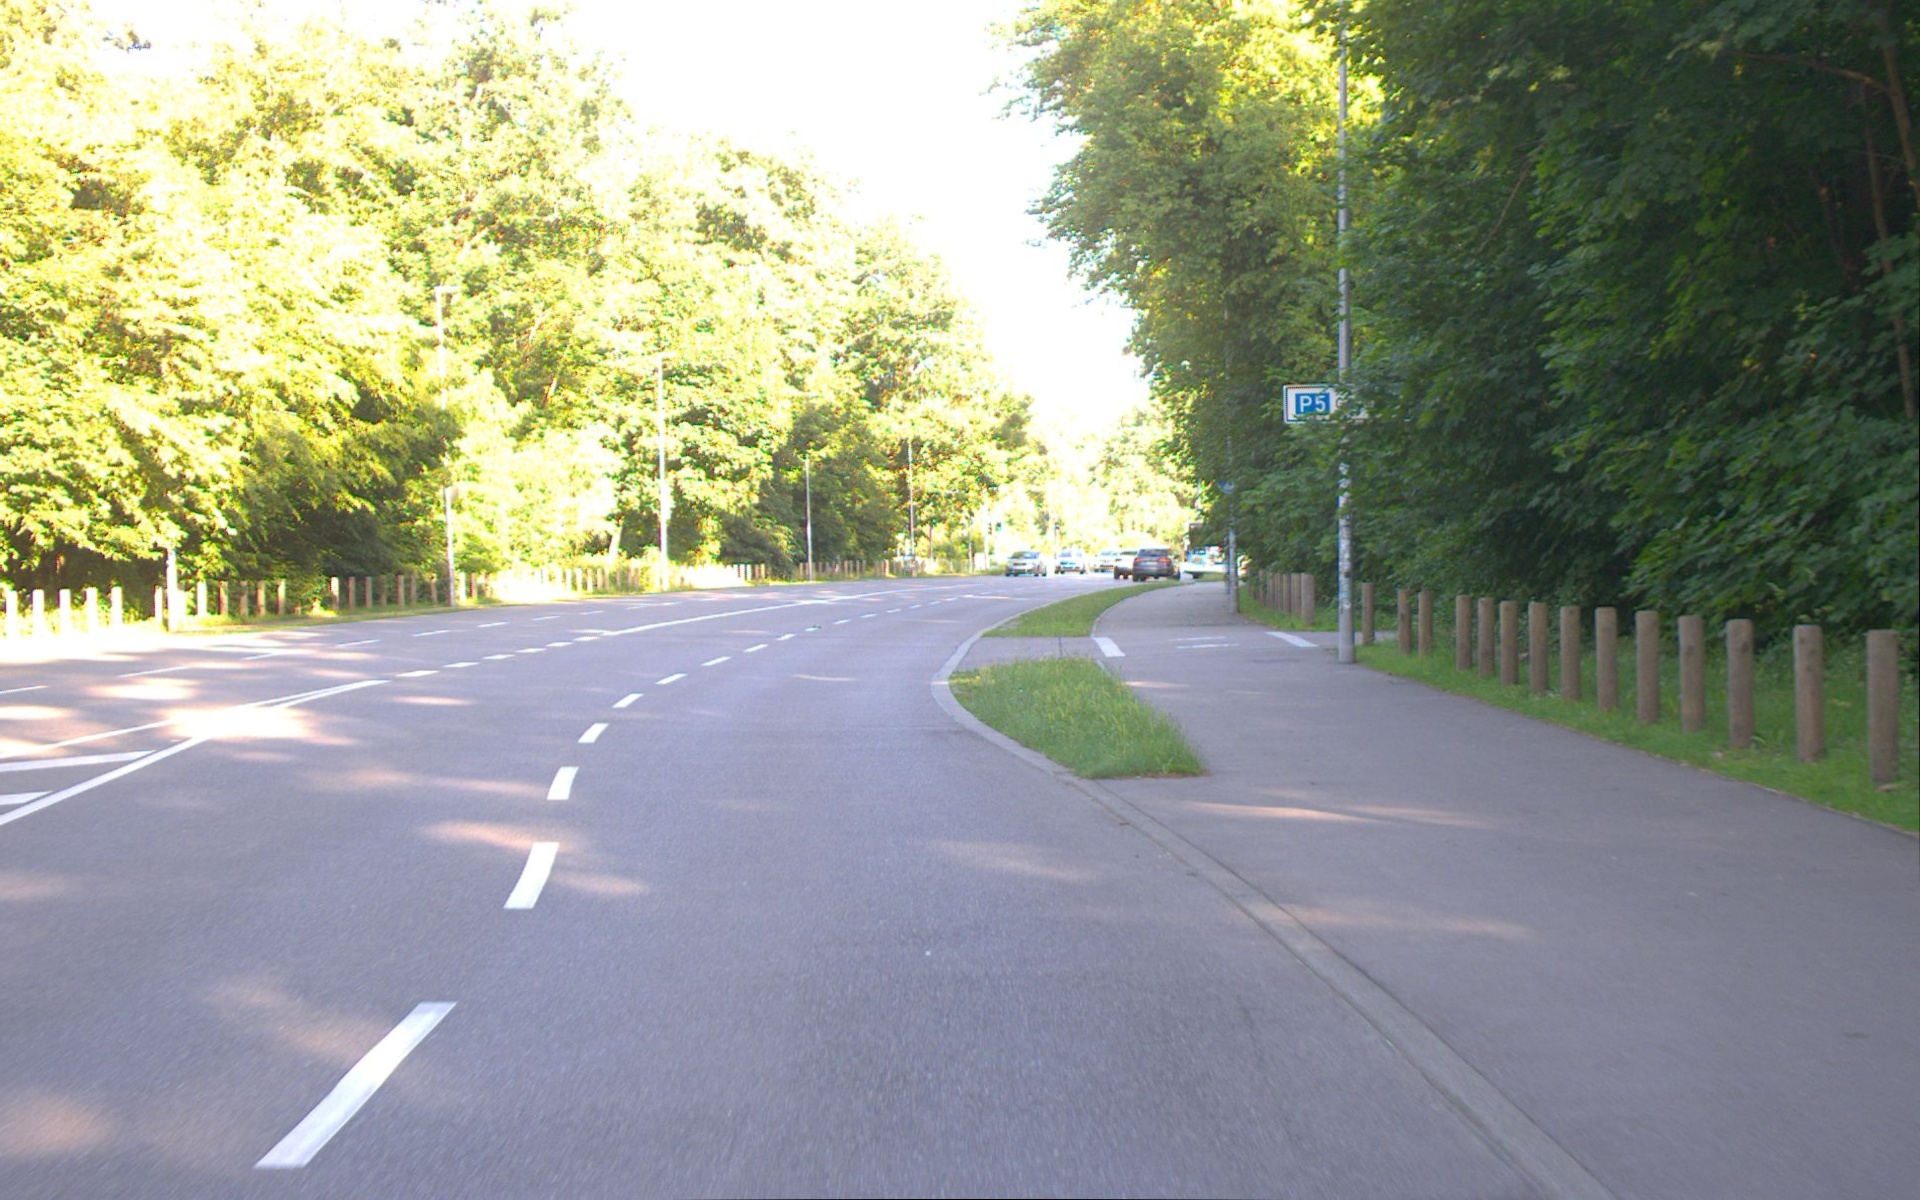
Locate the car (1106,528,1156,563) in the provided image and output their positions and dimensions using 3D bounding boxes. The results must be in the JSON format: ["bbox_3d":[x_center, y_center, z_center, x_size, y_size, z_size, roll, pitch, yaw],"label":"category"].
[{"bbox_3d":[8.559,-2.726,171.733,1.881,1.703,3.998,-1,1,12],"label":"car"}]

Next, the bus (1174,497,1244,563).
[{"bbox_3d":[12.963,-3.645,178.438,2.606,3.357,7.972,0,2,12],"label":"bus"}]

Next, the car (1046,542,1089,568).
[{"bbox_3d":[6.312,-2.625,201.907,1.780,1.459,4.272,-1,1,12],"label":"car"}]

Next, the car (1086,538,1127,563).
[{"bbox_3d":[9.357,-3.168,219.694,1.784,1.517,4.395,0,1,14],"label":"car"}]

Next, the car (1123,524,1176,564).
[{"bbox_3d":[8.817,-2.612,159.644,1.881,1.759,3.998,-1,1,12],"label":"car"}]

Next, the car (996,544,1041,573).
[{"bbox_3d":[3.117,-2.211,182.324,1.780,1.403,4.164,0,2,10],"label":"car"}]
